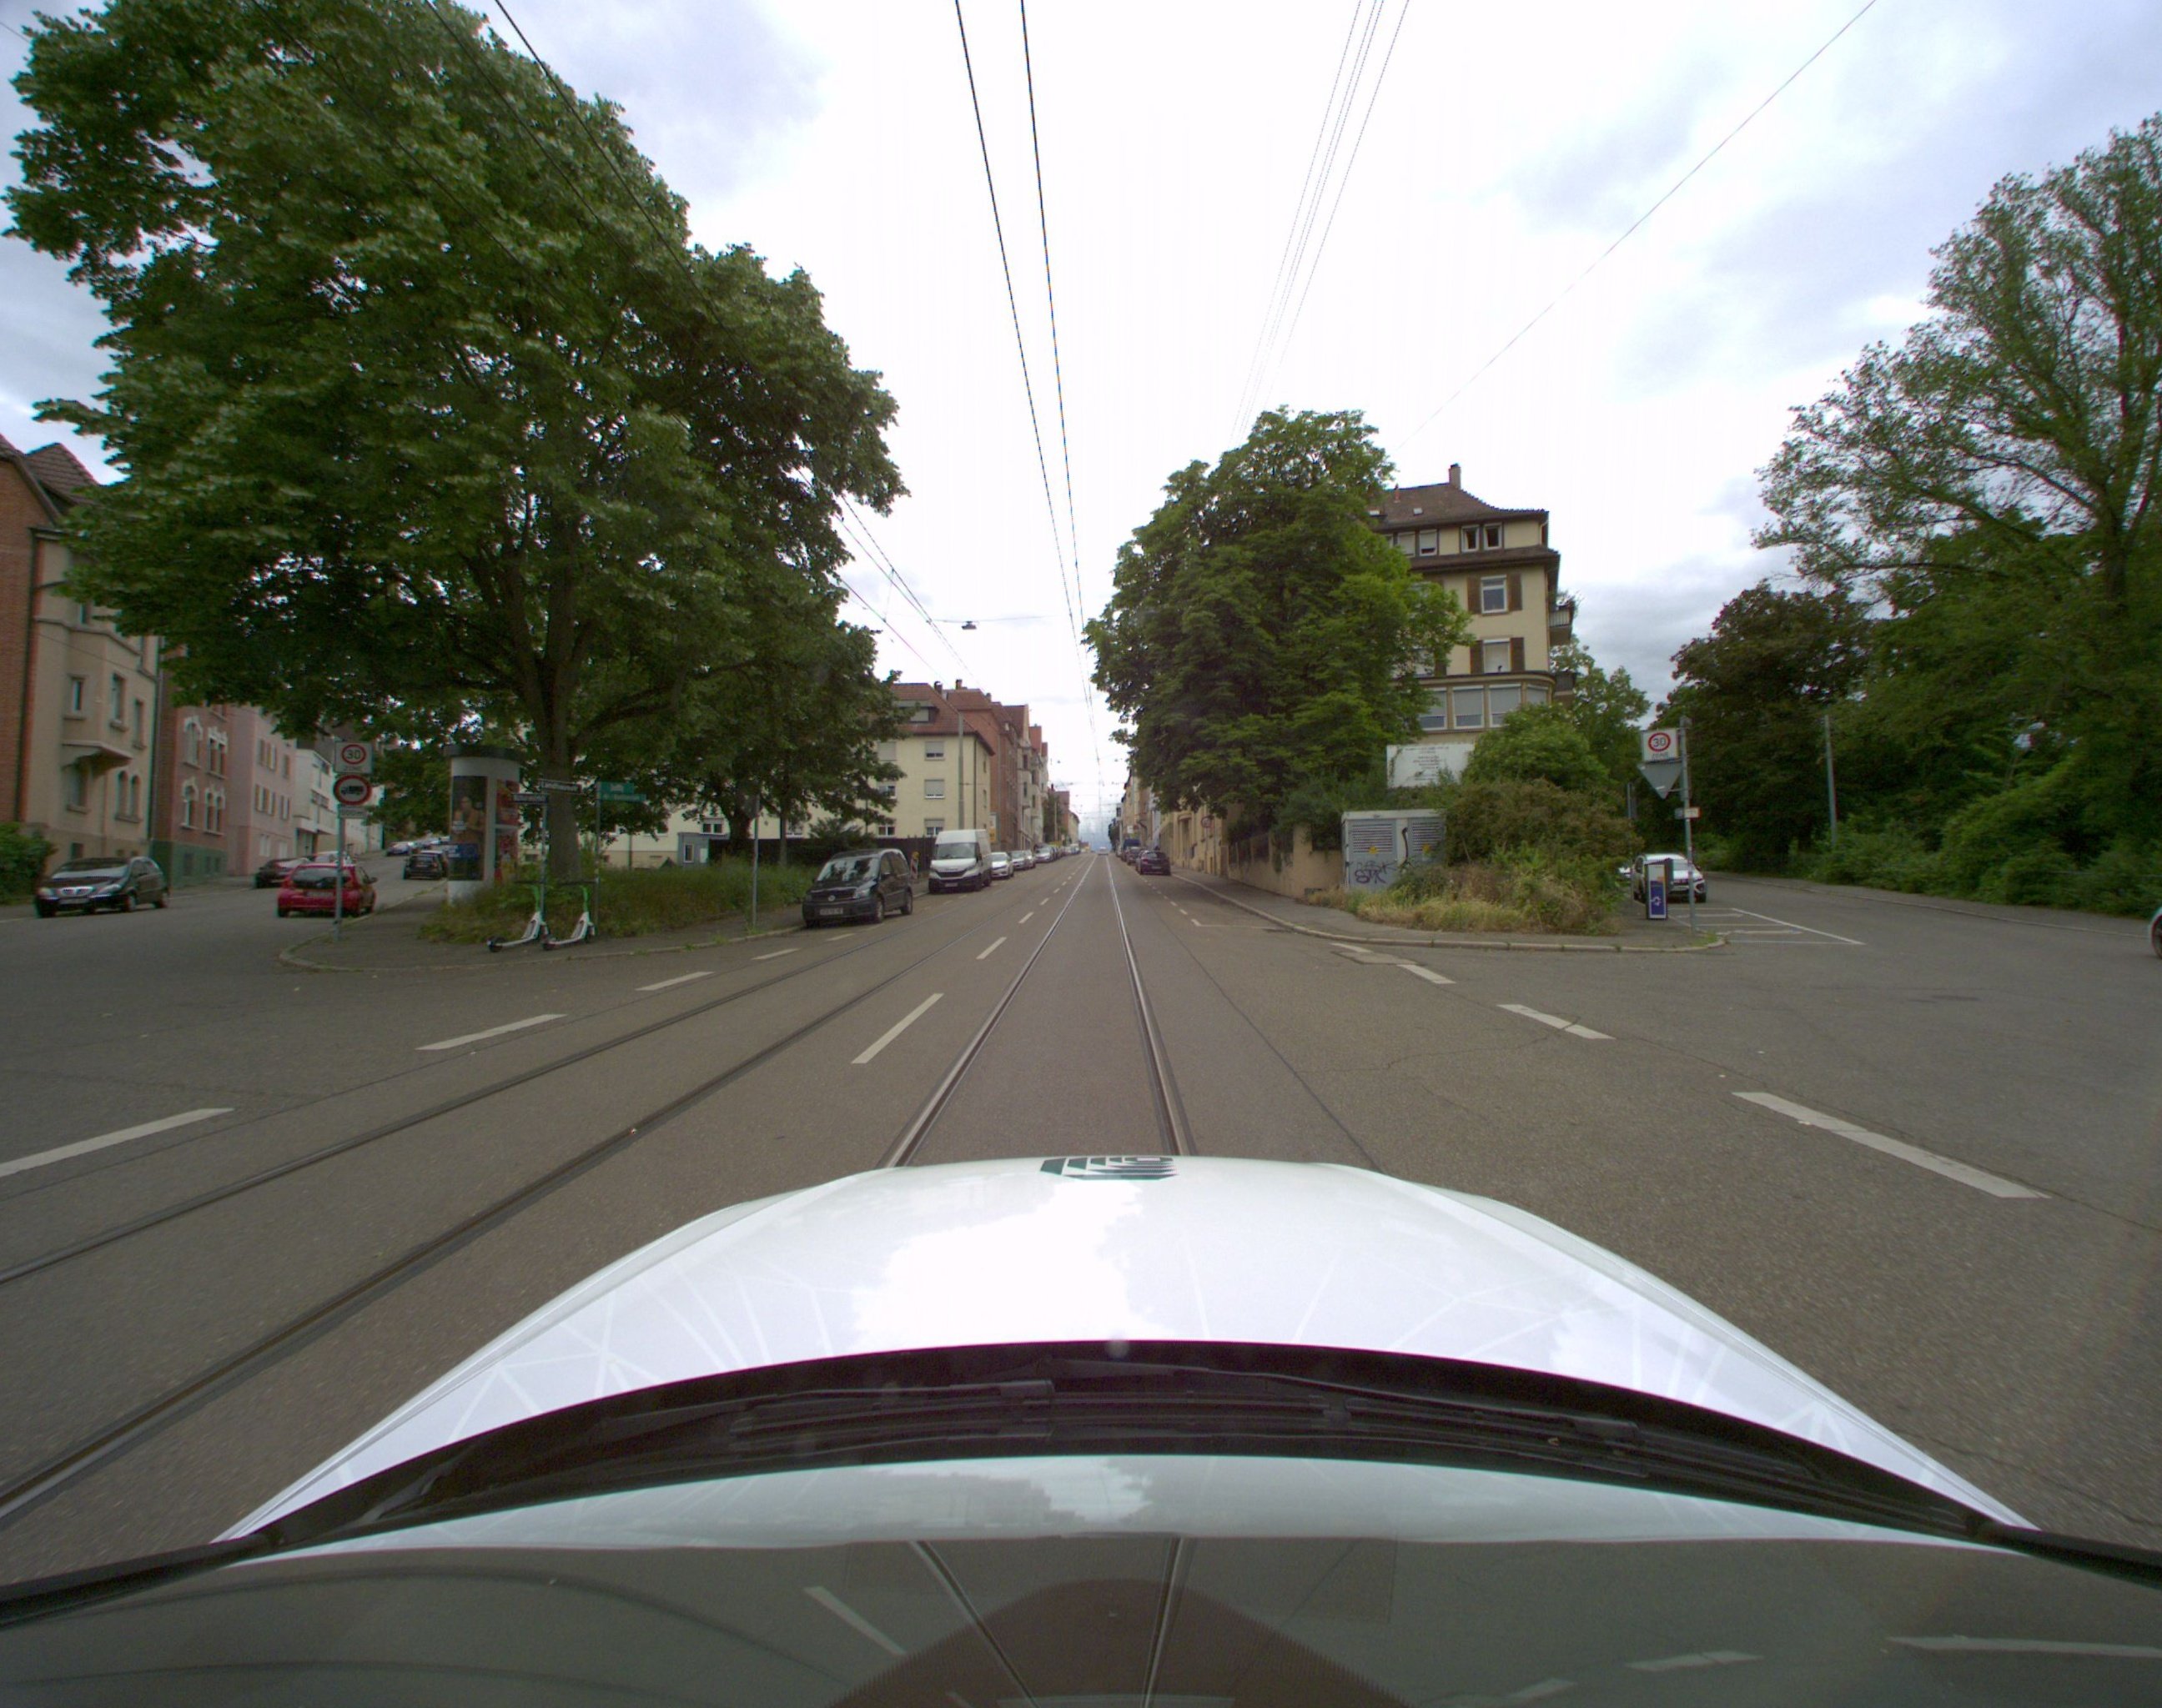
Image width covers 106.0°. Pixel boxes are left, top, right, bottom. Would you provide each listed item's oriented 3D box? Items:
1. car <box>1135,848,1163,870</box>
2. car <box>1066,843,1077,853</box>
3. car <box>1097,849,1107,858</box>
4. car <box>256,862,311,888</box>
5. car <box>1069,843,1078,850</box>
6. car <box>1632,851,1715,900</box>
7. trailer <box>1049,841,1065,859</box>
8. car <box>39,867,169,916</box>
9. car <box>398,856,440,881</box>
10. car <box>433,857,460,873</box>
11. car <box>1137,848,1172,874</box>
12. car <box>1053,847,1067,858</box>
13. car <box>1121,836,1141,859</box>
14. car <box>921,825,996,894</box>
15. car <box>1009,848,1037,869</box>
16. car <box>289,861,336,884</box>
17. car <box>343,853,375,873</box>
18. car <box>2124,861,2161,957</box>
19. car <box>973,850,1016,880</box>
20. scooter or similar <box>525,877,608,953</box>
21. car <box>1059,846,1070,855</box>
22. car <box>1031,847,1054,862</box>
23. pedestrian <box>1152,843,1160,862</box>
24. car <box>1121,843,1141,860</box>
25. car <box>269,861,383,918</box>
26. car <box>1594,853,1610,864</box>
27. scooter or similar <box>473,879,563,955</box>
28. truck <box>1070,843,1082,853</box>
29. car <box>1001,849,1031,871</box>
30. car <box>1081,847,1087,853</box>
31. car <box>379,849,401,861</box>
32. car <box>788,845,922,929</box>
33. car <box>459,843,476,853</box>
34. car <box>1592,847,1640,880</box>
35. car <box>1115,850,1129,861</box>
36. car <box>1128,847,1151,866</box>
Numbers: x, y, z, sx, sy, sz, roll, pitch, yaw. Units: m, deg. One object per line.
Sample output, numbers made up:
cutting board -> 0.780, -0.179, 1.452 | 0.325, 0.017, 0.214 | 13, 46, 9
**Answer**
car -> 4.570, 0.316, 55.246 | 1.688, 1.404, 3.669 | 2, 1, 2
car -> -1.864, -1.147, 156.895 | 1.736, 1.735, 4.523 | -2, 0, 3
car -> 3.721, -0.130, 146.503 | 1.666, 1.513, 3.797 | -1, 0, 0
car -> -40.583, 1.028, 41.497 | 1.464, 1.235, 3.384 | 0, 0, -35
car -> -1.626, -1.512, 175.241 | 1.691, 1.433, 4.481 | -2, 0, 0
car -> 20.046, 0.689, 27.718 | 1.823, 1.534, 4.533 | -1, -1, 31
trailer -> -3.140, -0.560, 106.071 | 1.742, 2.155, 4.073 | -3, 1, 2
car -> -27.886, 1.019, 23.370 | 1.464, 1.235, 3.740 | 0, 0, -35
car -> -40.274, 0.885, 49.618 | 1.683, 1.415, 3.691 | 0, 0, -35
car -> -58.183, 0.985, 74.729 | 1.683, 1.415, 3.691 | 0, 0, -35
car -> 4.360, 0.408, 48.919 | 1.833, 1.403, 4.169 | 1, 0, 1
car -> -3.033, -0.241, 117.813 | 1.690, 1.468, 3.025 | -3, 0, 2
car -> 5.367, -0.688, 88.014 | 1.986, 2.376, 5.058 | 0, 0, 1
car -> -5.165, 0.166, 35.236 | 2.151, 2.606, 6.218 | -3, 1, 0
car -> -4.415, 0.316, 62.579 | 1.822, 1.429, 4.626 | -4, 1, -1
car -> -45.125, 1.072, 47.866 | 1.464, 1.235, 3.740 | 0, 0, -35
car -> -57.219, 0.736, 64.568 | 1.464, 1.479, 3.739 | 1, -2, -36
car -> 15.872, 0.844, 10.104 | 1.876, 1.380, 4.628 | 2, 1, 28
car -> -4.680, 0.559, 44.704 | 1.712, 1.402, 4.315 | -3, 1, 2
scooter or similar -> -8.961, 1.028, 14.249 | 0.310, 1.145, 1.718 | 0, 2, 2
car -> -2.913, -0.659, 145.469 | 1.690, 1.556, 3.853 | 0, 0, 3
car -> -3.823, 0.028, 82.106 | 1.820, 1.429, 4.842 | -3, 1, 2
pedestrian -> 7.054, -0.138, 76.359 | 0.540, 1.682, 0.515 | -5, -2, -7
car -> 5.068, -0.263, 82.637 | 1.773, 1.530, 4.193 | 3, 0, 1
car -> -21.178, 0.940, 23.003 | 1.658, 1.415, 3.694 | 1, 0, -32
car -> 76.987, 0.608, 120.357 | 1.727, 1.541, 3.811 | -3, -2, 30
scooter or similar -> -9.711, 1.053, 14.126 | 0.310, 1.145, 1.718 | 0, 2, 2
truck -> -1.039, -1.347, 183.746 | 2.271, 2.188, 8.030 | 0, 0, 3
car -> -4.594, 0.408, 58.099 | 1.594, 1.368, 3.810 | -4, 1, 2
car -> 0.959, -1.259, 249.825 | 1.848, 1.607, 4.298 | 0, 0, 1
car -> -70.560, 0.092, 83.185 | 1.464, 1.235, 3.384 | 0, 0, -35
car -> -5.528, 0.734, 20.609 | 1.755, 1.775, 4.672 | -4, 0, 3
car -> -85.511, -0.858, 113.547 | 1.683, 1.415, 3.691 | 0, 0, -35
car -> 27.284, 0.477, 41.606 | 1.727, 1.541, 3.811 | -3, -2, 30
car -> 5.512, 0.200, 109.870 | 1.744, 1.390, 4.308 | 2, 0, 0
car -> 5.046, 0.168, 70.280 | 1.820, 1.519, 4.030 | 2, 1, 2
